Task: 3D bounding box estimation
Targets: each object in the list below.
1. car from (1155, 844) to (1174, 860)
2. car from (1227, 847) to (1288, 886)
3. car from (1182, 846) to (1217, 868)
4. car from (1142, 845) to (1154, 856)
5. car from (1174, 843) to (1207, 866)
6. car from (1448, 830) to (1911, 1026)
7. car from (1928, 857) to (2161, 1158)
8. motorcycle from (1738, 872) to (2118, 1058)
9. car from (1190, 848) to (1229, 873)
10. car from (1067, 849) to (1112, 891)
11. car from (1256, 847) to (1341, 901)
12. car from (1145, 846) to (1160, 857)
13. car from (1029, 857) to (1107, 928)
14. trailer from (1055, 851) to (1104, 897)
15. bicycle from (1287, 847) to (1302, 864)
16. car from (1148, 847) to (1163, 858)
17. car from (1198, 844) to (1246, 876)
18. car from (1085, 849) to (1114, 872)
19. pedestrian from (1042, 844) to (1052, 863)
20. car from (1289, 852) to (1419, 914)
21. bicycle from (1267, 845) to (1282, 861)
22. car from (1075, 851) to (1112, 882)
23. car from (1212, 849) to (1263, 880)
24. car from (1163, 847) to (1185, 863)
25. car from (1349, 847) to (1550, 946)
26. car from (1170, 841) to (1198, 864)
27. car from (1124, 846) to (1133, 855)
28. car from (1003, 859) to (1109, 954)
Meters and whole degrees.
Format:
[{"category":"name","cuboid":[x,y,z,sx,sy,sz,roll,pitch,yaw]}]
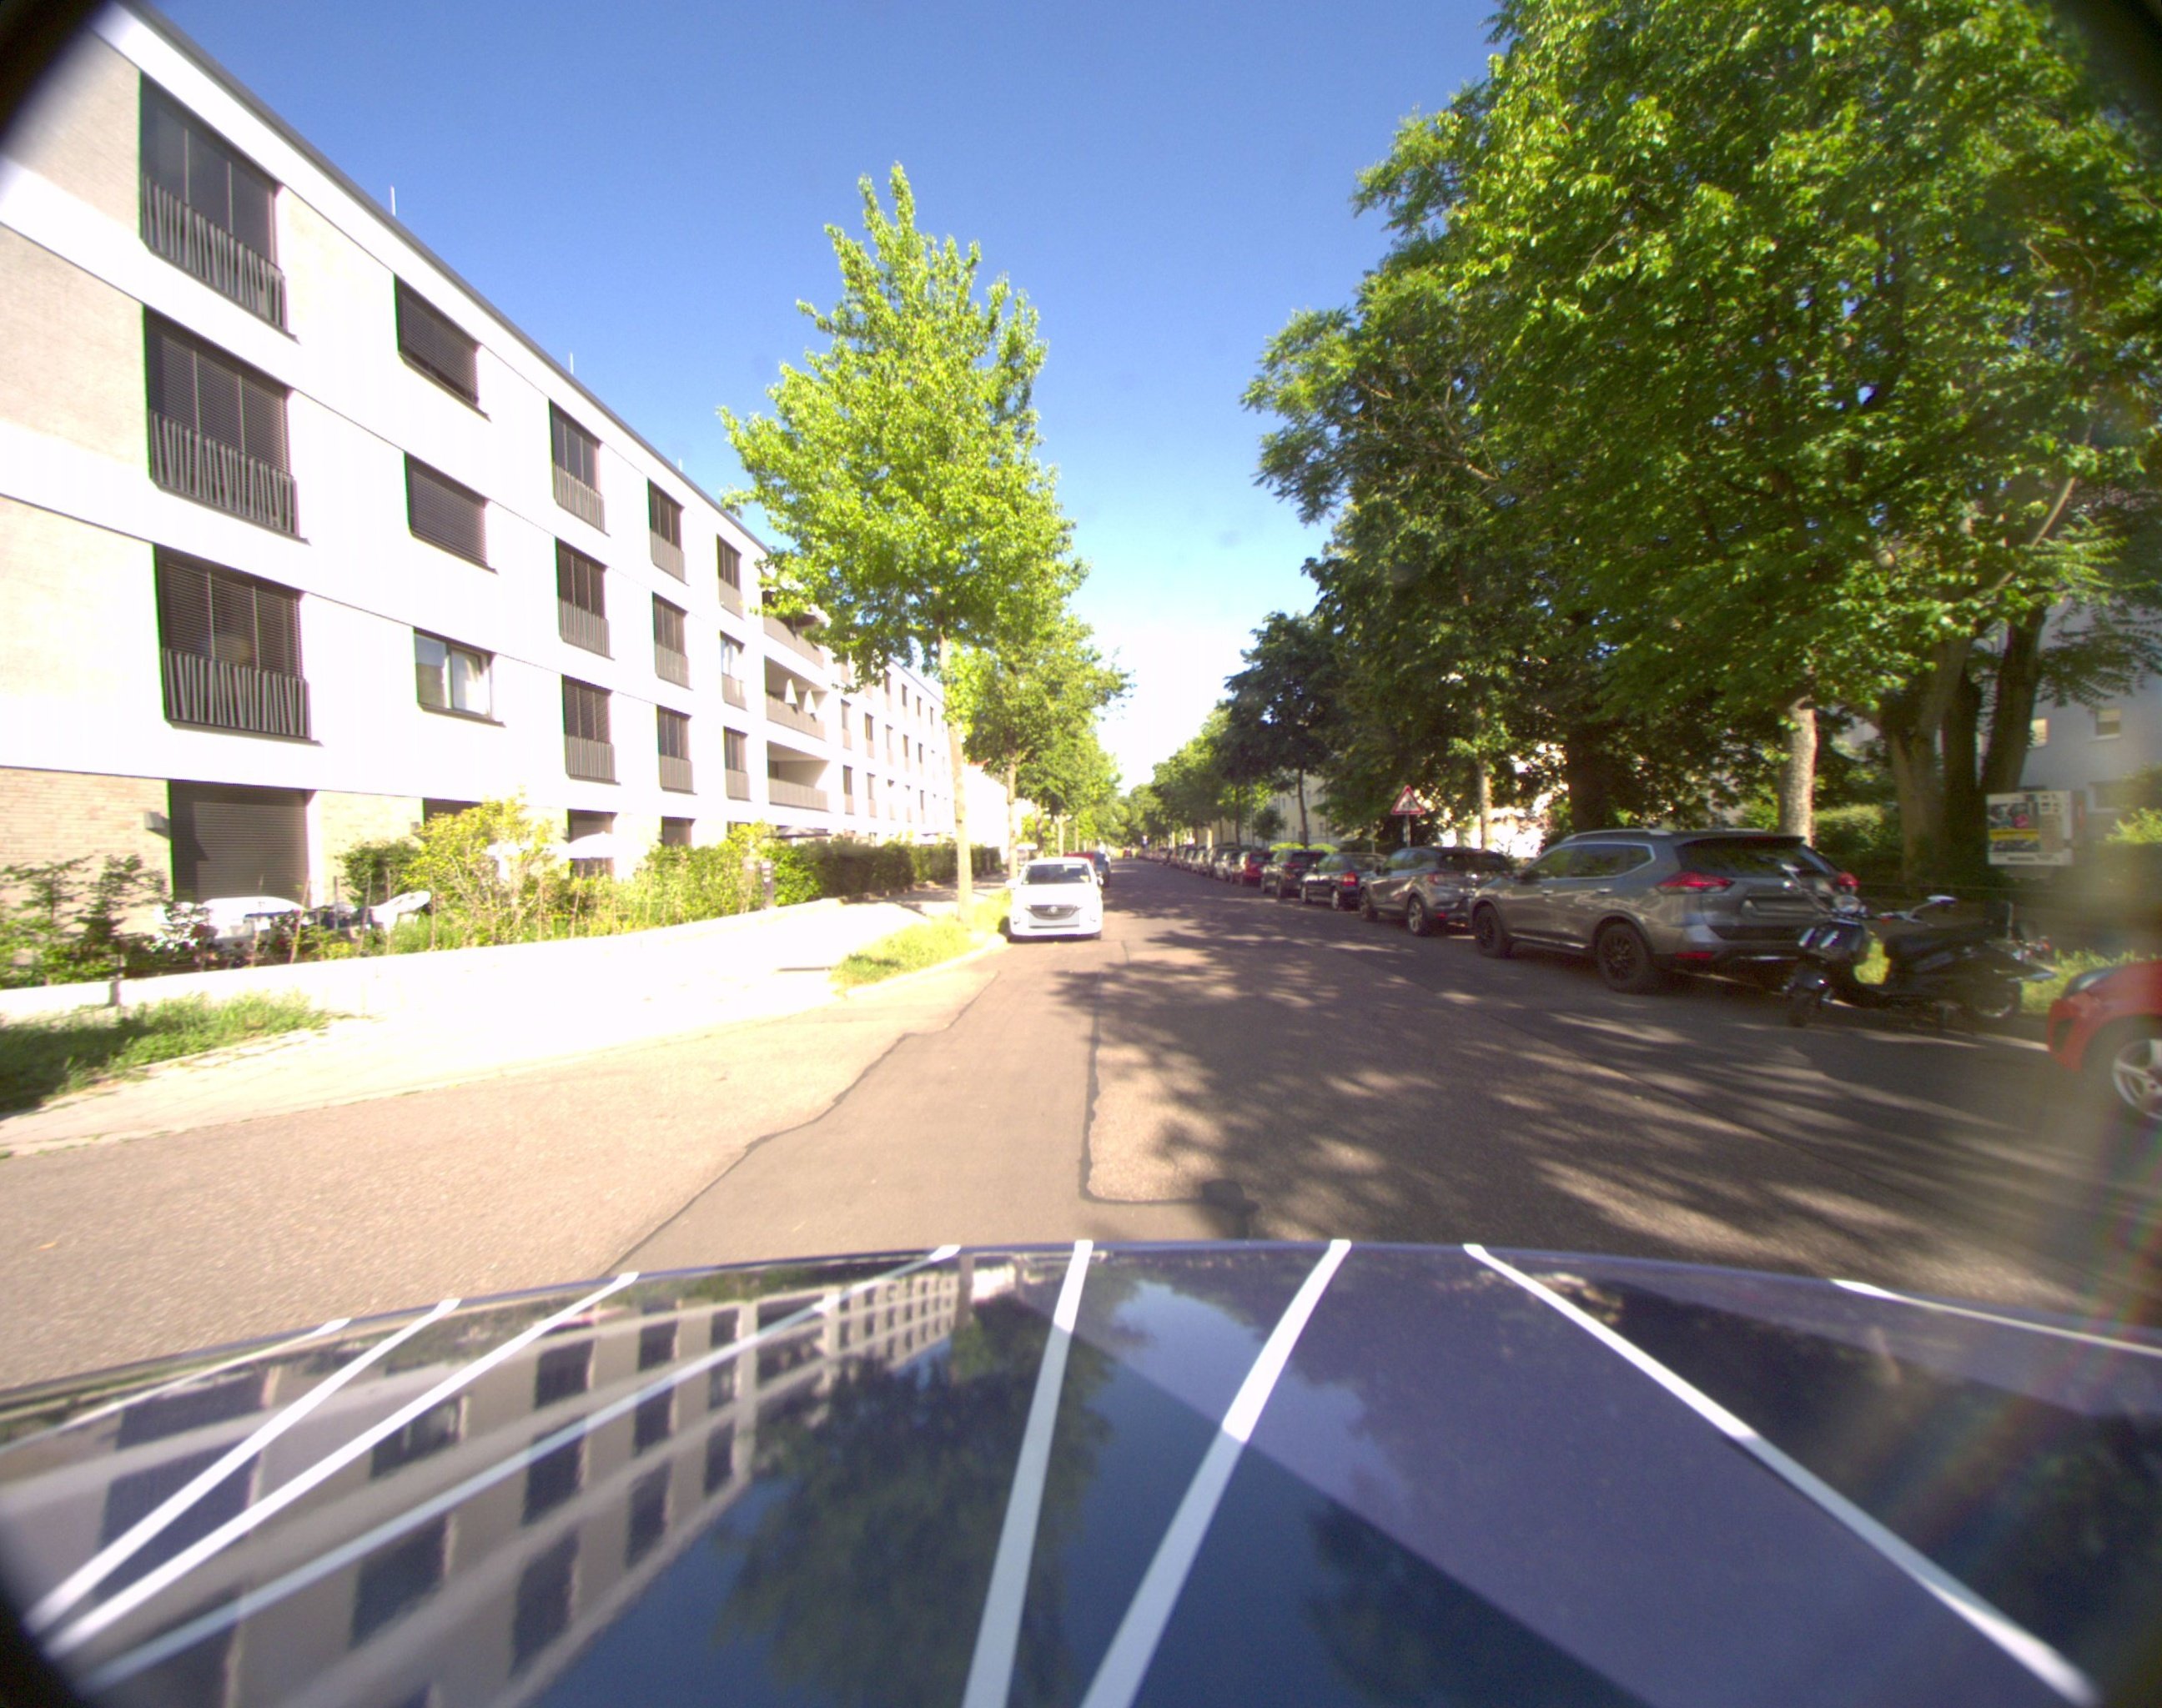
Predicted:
[{"category":"car","cuboid":[9.414,-0.222,85.765,1.863,1.718,4.000,0,1,3]},{"category":"car","cuboid":[7.361,0.493,32.022,1.658,1.496,4.068,-1,1,1]},{"category":"car","cuboid":[8.123,0.169,52.296,1.798,1.444,4.489,-1,1,1]},{"category":"car","cuboid":[10.676,-0.599,121.236,1.713,1.752,3.712,-2,1,1]},{"category":"car","cuboid":[8.315,0.022,57.994,1.798,1.676,4.525,-1,1,-1]},{"category":"car","cuboid":[6.379,0.624,9.034,1.772,1.678,4.814,-1,1,1]},{"category":"car","cuboid":[6.313,0.786,2.775,1.860,1.461,4.182,-2,1,2]},{"category":"motorcycle","cuboid":[6.626,0.839,6.070,1.956,1.324,0.788,-1,1,10]},{"category":"car","cuboid":[7.945,0.367,47.279,1.710,1.472,4.489,-1,1,1]},{"category":"car","cuboid":[0.420,0.656,34.509,1.797,1.634,4.819,-4,1,2]},{"category":"car","cuboid":[6.992,0.585,24.904,1.710,1.568,4.482,-1,1,3]},{"category":"car","cuboid":[10.440,-0.350,110.894,1.805,1.470,3.999,-2,1,-1]},{"category":"car","cuboid":[-0.274,0.897,19.455,1.674,1.442,4.178,-4,1,1]},{"category":"trailer","cuboid":[-0.013,0.752,29.844,1.578,1.569,3.192,-4,1,4]},{"category":"bicycle","cuboid":[14.337,0.081,51.066,0.573,1.055,1.933,-2,1,3]},{"category":"car","cuboid":[9.747,-0.185,99.451,1.605,1.382,3.812,-2,1,2]},{"category":"car","cuboid":[7.715,0.299,41.978,1.846,1.647,5.087,-1,1,2]},{"category":"car","cuboid":[1.311,0.434,54.930,1.786,1.509,4.686,-3,1,-2]},{"category":"pedestrian","cuboid":[-3.584,-0.042,79.160,0.907,2.002,1.006,-1,1,2]},{"category":"car","cuboid":[6.894,0.663,19.691,1.789,1.344,4.481,-1,1,1]},{"category":"bicycle","cuboid":[14.659,-0.081,57.714,0.596,1.183,2.261,-1,1,1]},{"category":"car","cuboid":[0.723,0.631,40.679,1.722,1.508,4.345,-3,1,3]},{"category":"car","cuboid":[7.478,0.487,36.708,1.658,1.365,4.189,-1,1,1]},{"category":"car","cuboid":[9.001,0.050,73.995,1.779,1.462,4.064,1,1,2]},{"category":"car","cuboid":[6.627,0.655,14.266,1.773,1.522,4.420,-2,1,3]},{"category":"car","cuboid":[8.494,-0.144,63.088,1.798,1.839,4.866,-1,1,2]},{"category":"car","cuboid":[8.600,-0.624,138.173,1.665,1.456,3.448,-1,1,3]},{"category":"car","cuboid":[-0.405,0.897,14.885,1.737,1.478,4.009,-2,1,0]}]
